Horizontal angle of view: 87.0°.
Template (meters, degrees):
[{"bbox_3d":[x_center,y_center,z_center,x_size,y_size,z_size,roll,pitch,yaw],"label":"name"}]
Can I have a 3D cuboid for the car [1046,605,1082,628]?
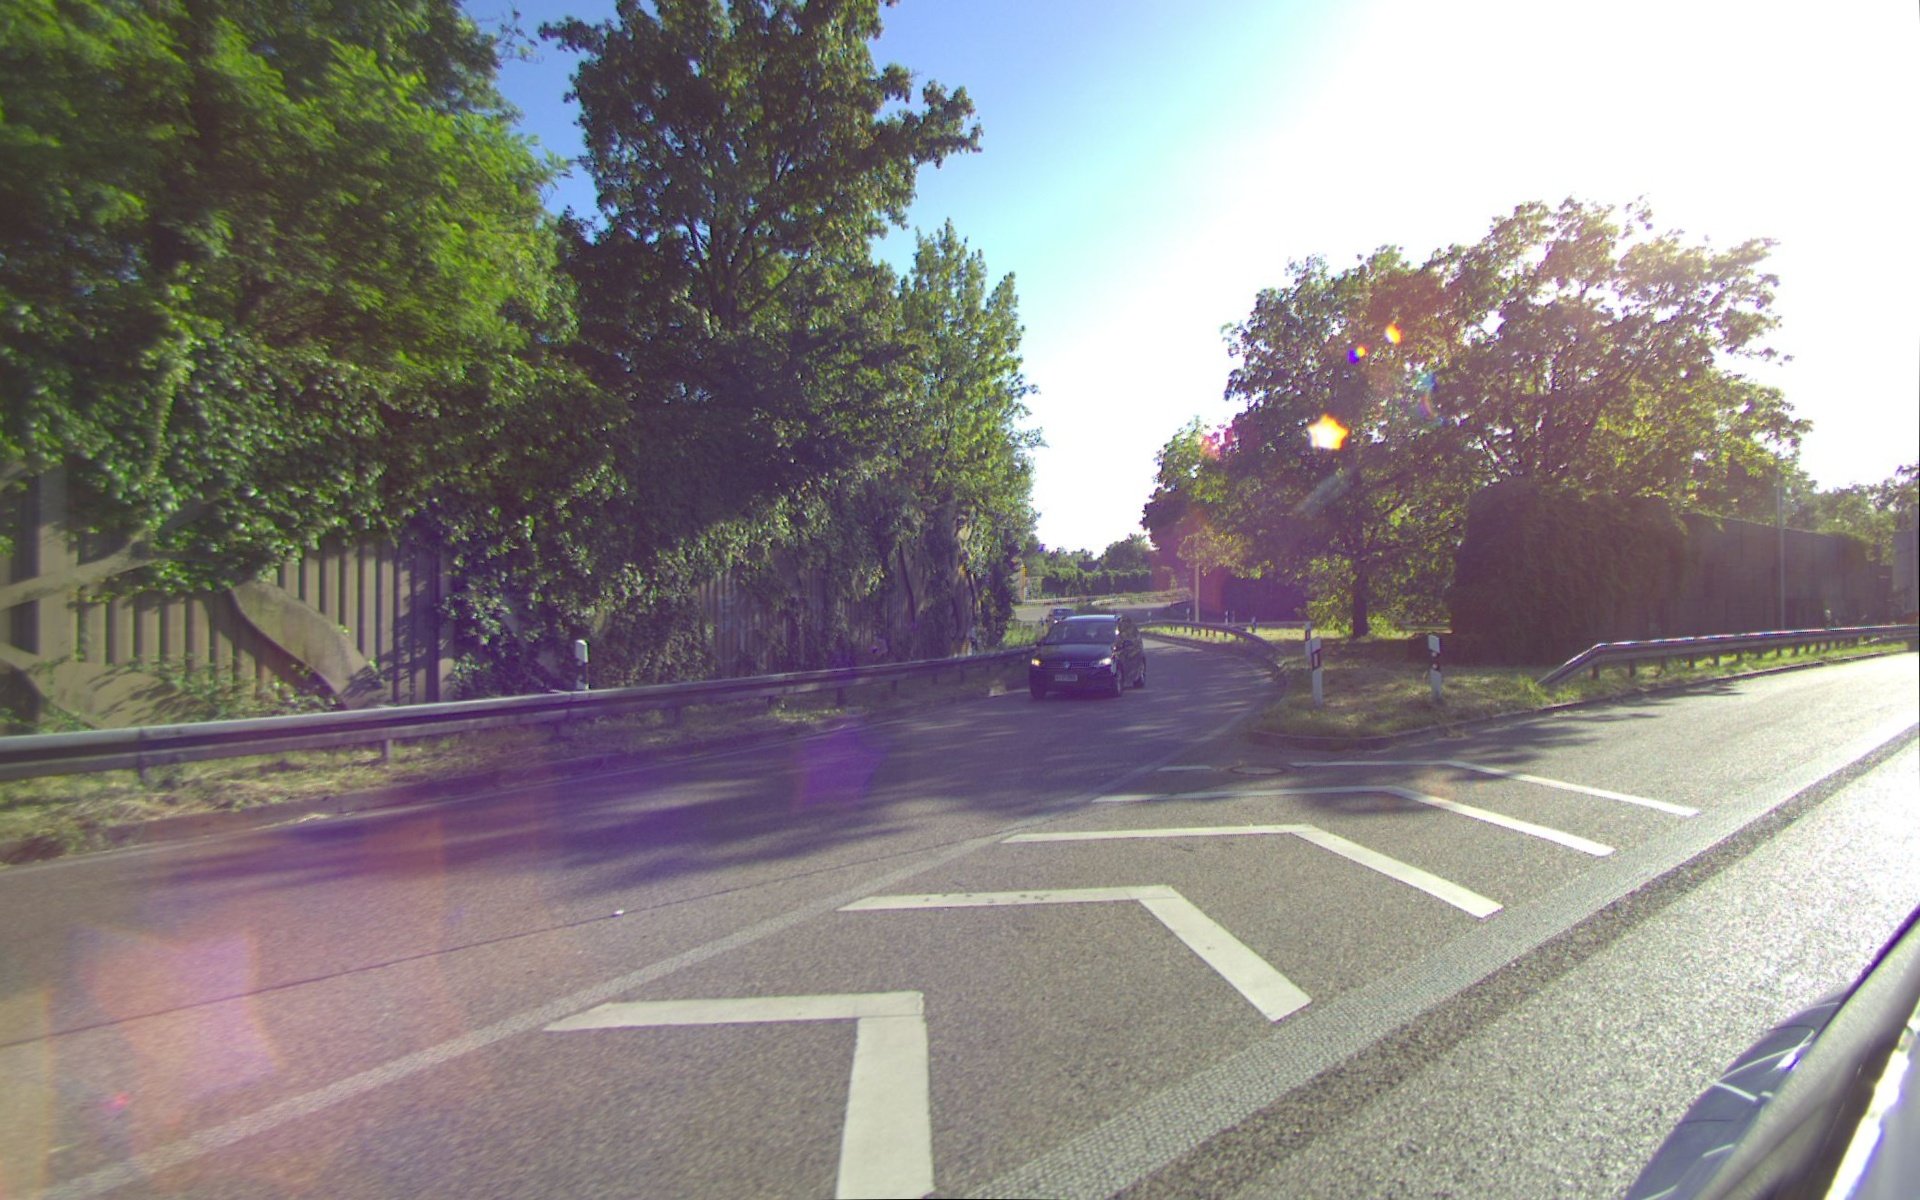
[{"bbox_3d":[6.237,1.038,60.958,1.611,1.301,3.999,-1,-2,-2],"label":"car"}]

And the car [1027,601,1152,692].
[{"bbox_3d":[2.779,0.941,20.913,1.725,1.684,3.972,-2,-2,20],"label":"car"}]
